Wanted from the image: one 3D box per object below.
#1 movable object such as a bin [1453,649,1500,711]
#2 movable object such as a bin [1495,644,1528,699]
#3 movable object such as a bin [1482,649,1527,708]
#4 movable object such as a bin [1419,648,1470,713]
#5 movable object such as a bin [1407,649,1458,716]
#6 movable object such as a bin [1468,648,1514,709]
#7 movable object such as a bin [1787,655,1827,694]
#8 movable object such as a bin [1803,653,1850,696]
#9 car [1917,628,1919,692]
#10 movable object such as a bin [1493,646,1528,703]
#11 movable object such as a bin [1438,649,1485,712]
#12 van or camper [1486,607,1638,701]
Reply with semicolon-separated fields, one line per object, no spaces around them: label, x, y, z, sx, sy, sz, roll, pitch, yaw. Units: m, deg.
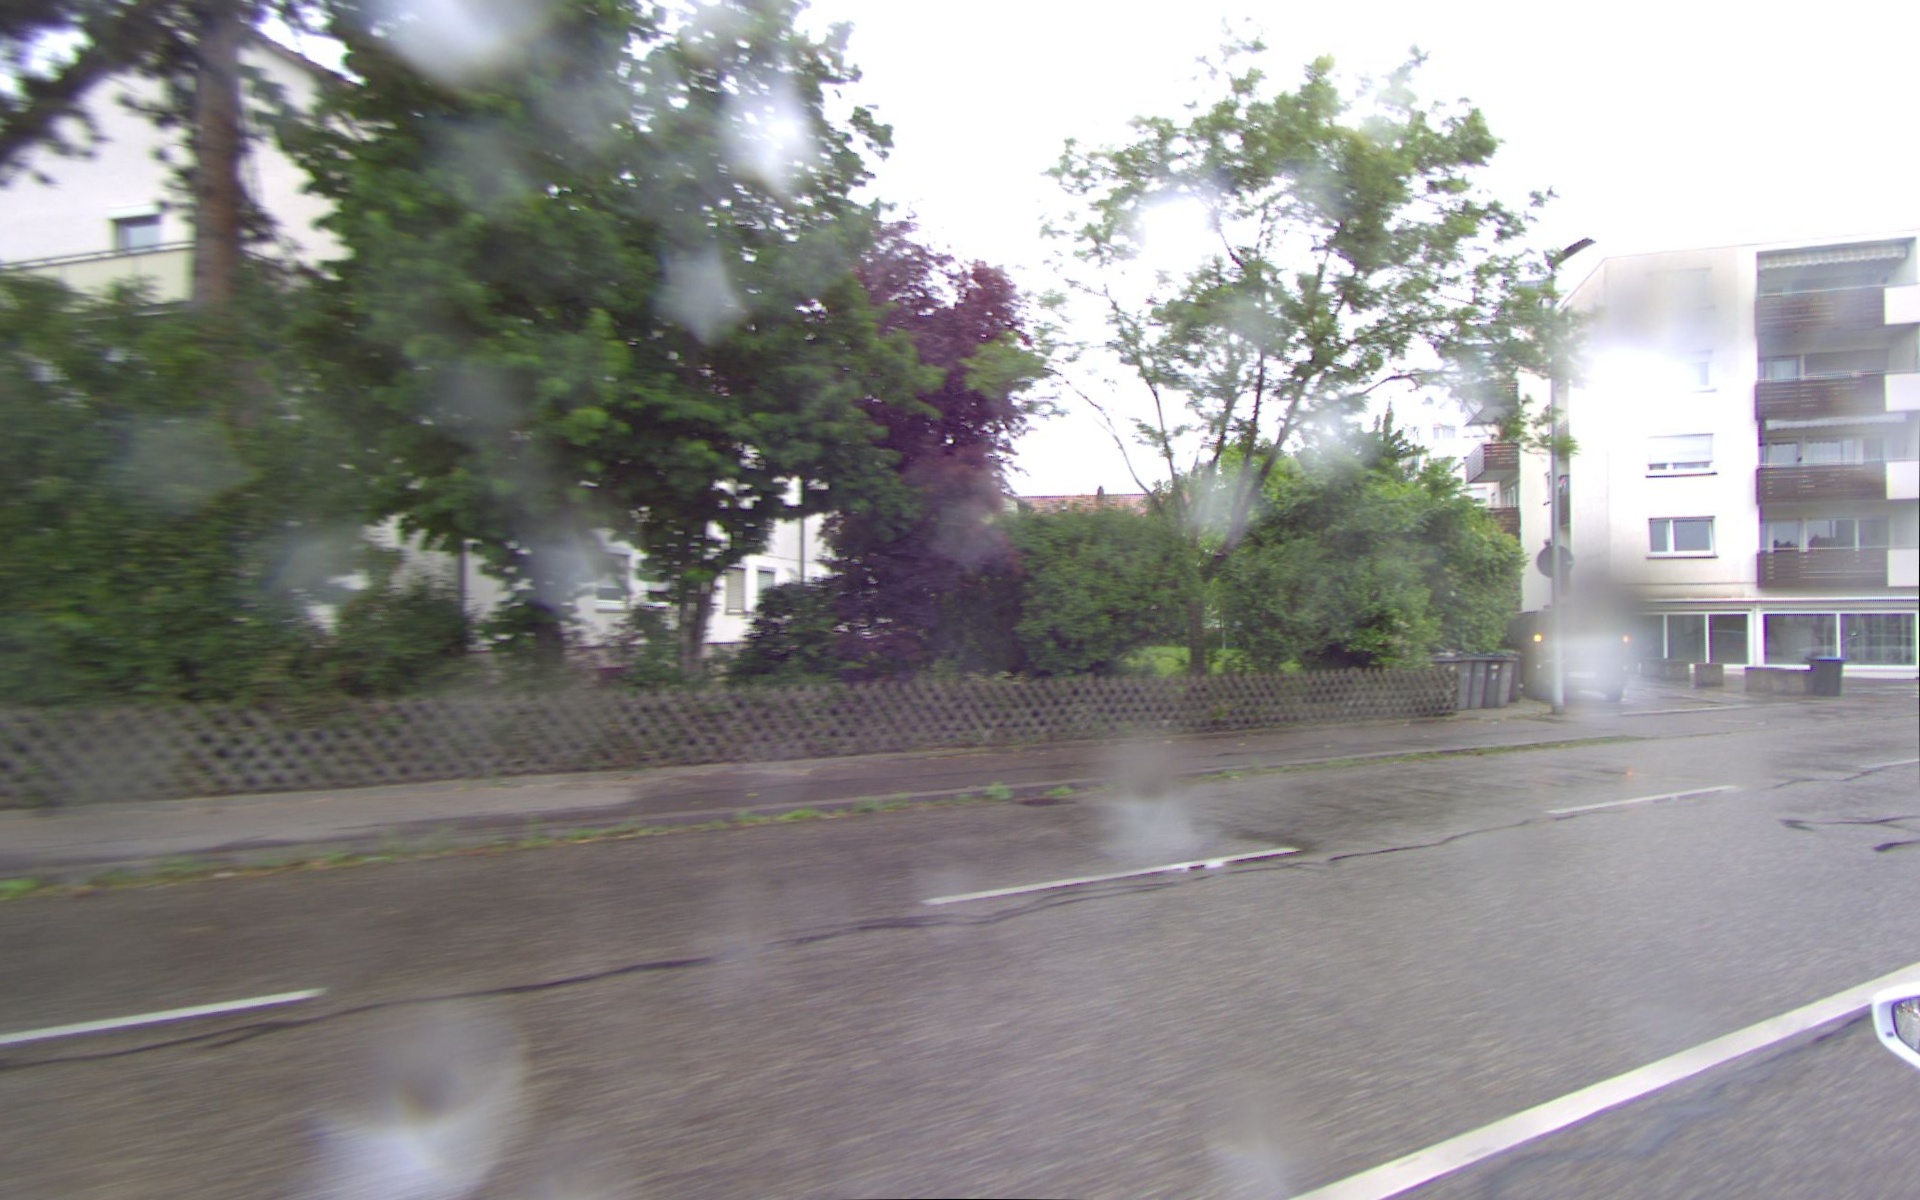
movable object such as a bin;9.741;1.501;18.952;0.596;1.133;0.594;1;-2;-40
movable object such as a bin;11.732;1.512;21.371;0.590;1.133;0.601;-1;-2;27
movable object such as a bin;10.699;1.531;19.742;0.596;1.133;0.594;1;-2;-40
movable object such as a bin;8.769;1.453;18.196;0.594;1.133;0.597;1;-1;-29
movable object such as a bin;8.326;1.433;17.704;0.594;1.133;0.597;1;-1;-30
movable object such as a bin;10.223;1.507;19.335;0.596;1.133;0.594;1;-2;-40
movable object such as a bin;20.940;1.832;24.835;0.590;0.914;0.572;1;-2;-27
movable object such as a bin;20.692;1.767;23.993;0.674;0.978;0.645;1;-2;-27
car;25.338;1.454;24.458;4.269;1.541;1.646;1;-1;-27
movable object such as a bin;11.305;1.521;20.651;0.590;1.133;0.601;-1;-2;27
movable object such as a bin;9.265;1.476;18.564;0.596;1.133;0.594;1;-2;-40
van or camper;13.999;1.165;23.725;1.960;1.950;5.218;-1;-1;19
